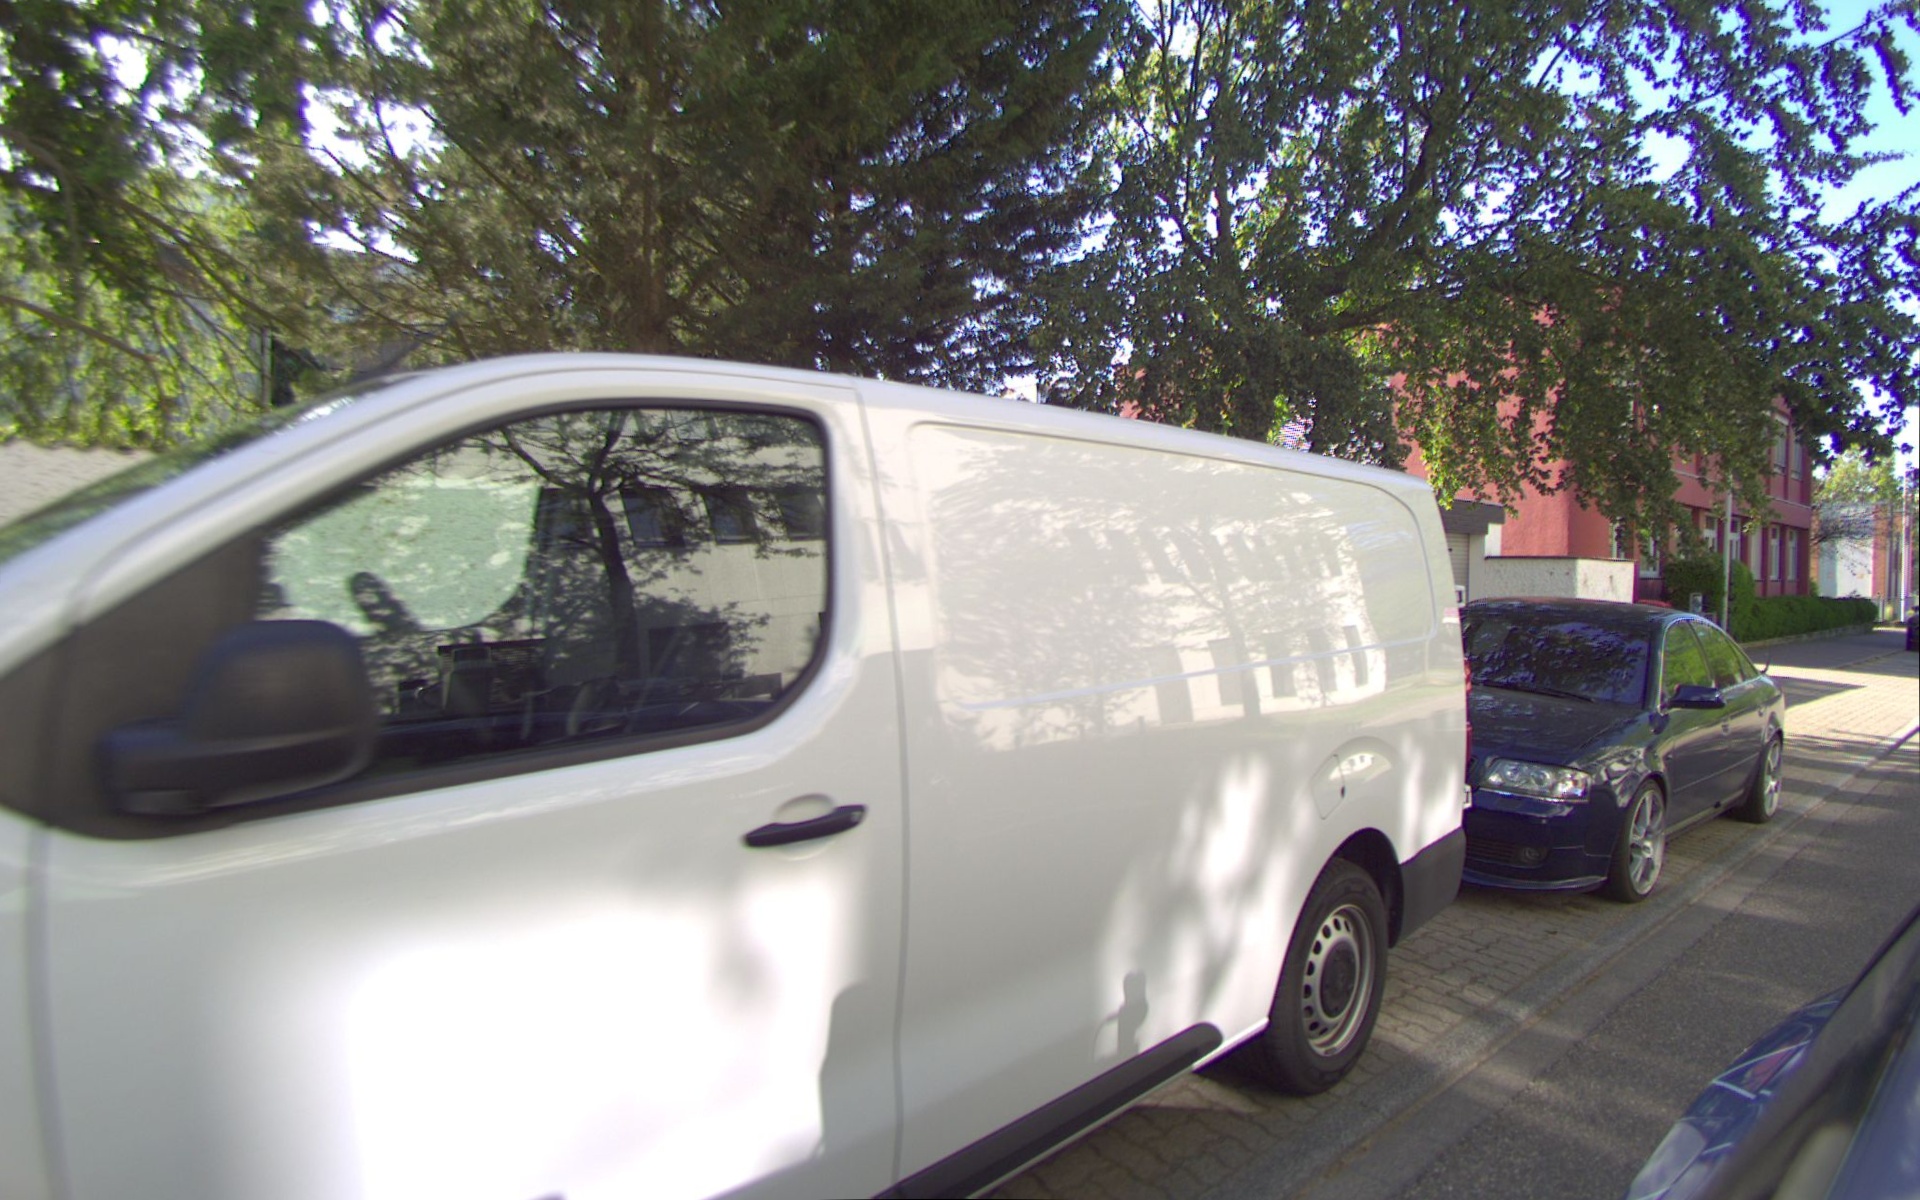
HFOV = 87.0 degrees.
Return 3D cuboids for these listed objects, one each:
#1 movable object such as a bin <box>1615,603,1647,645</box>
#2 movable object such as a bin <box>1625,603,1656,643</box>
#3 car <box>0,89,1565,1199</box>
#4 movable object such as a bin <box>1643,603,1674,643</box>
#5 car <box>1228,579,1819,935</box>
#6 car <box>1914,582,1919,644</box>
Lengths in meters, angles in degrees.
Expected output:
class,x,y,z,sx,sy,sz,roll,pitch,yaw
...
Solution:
class,x,y,z,sx,sy,sz,roll,pitch,yaw
movable object such as a bin,15.065,0.540,22.727,0.466,0.912,0.478,0,0,-39
movable object such as a bin,15.589,0.520,23.170,0.466,0.912,0.478,0,0,-39
car,-0.424,0.430,2.670,5.057,1.937,1.903,0,3,-40
movable object such as a bin,16.379,0.529,23.727,0.466,0.912,0.478,0,0,-39
car,3.694,0.629,6.300,4.207,1.441,1.830,0,3,-40
car,27.755,0.378,27.689,4.295,1.650,1.903,0,3,-40
